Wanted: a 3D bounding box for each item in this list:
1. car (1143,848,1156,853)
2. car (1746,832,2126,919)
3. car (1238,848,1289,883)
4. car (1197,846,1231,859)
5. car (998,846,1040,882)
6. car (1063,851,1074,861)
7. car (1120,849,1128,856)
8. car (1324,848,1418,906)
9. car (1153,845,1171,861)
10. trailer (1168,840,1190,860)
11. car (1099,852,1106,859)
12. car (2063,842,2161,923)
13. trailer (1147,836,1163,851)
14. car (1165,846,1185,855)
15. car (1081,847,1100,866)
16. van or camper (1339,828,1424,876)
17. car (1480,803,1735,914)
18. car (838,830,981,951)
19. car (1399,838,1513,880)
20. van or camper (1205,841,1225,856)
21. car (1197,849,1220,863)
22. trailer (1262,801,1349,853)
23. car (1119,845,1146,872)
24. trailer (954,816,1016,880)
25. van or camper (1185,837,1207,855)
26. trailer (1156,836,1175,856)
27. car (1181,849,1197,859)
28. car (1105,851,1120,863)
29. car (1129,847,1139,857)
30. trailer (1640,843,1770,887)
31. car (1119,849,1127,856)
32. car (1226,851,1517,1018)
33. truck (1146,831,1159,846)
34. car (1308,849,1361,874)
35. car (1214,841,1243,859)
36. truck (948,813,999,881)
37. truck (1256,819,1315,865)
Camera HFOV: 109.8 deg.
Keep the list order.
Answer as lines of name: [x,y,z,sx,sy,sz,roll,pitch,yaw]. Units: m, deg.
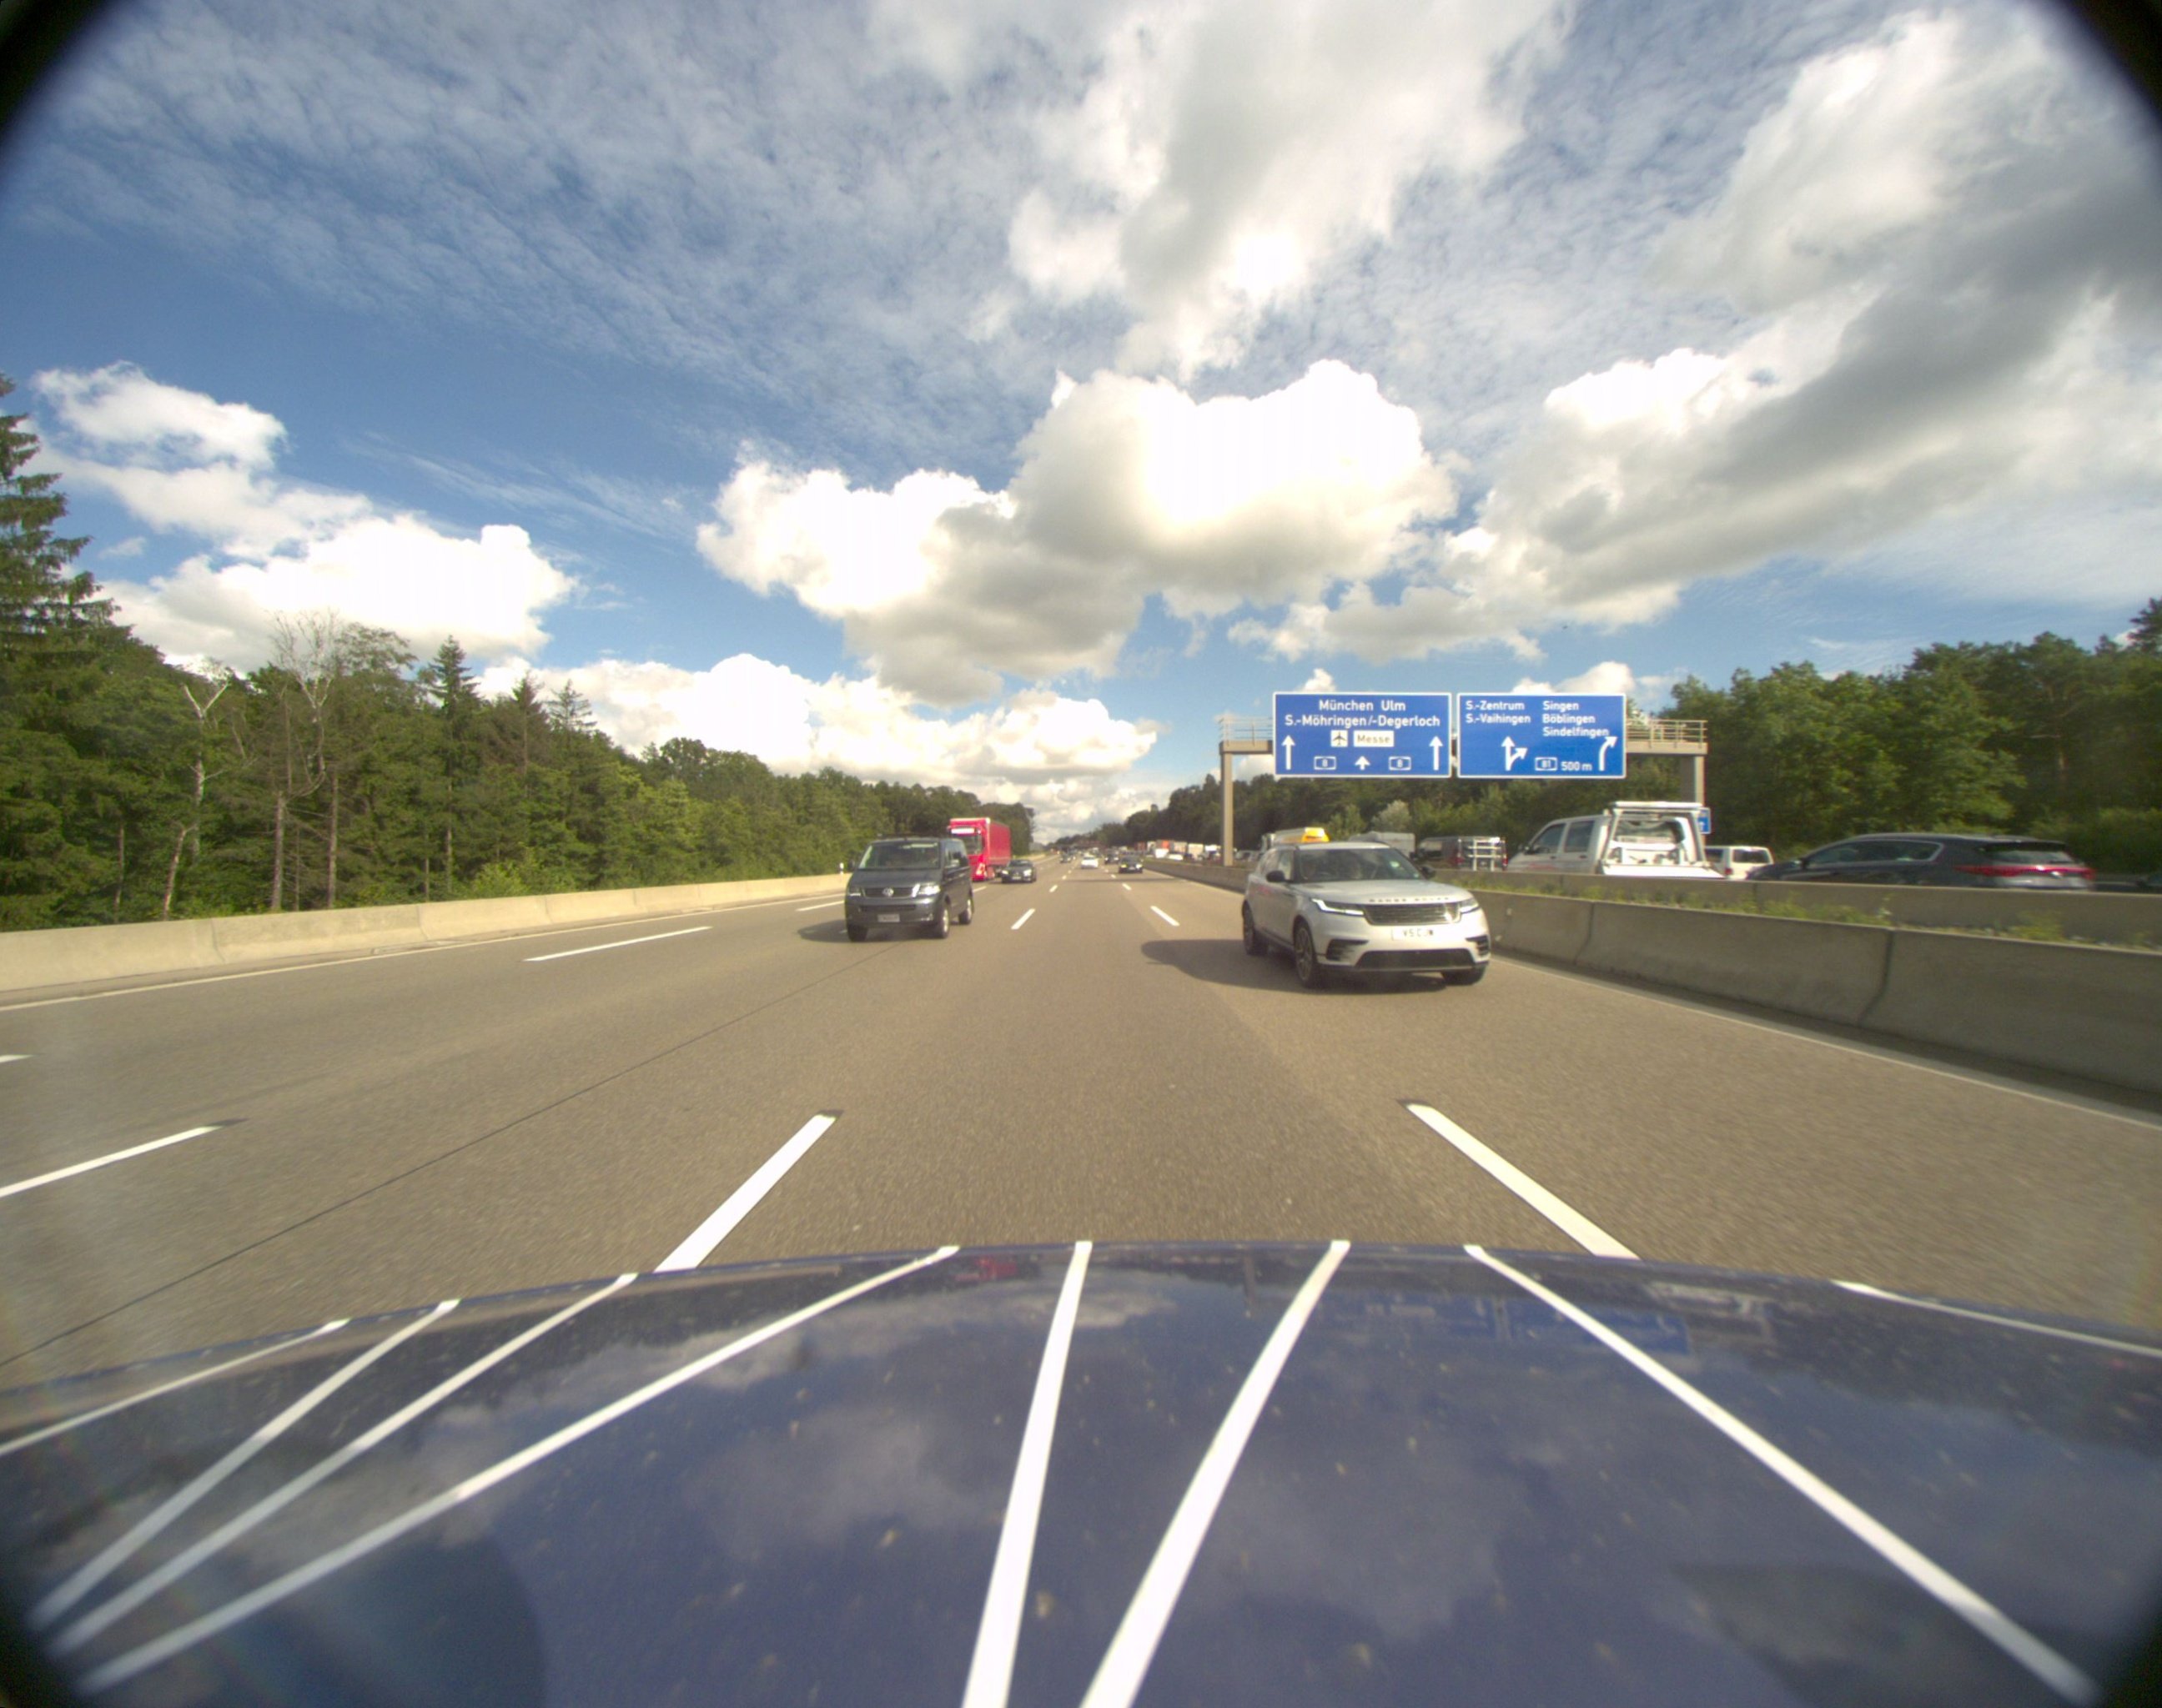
car: [10.572,-0.487,117.283,1.651,0.720,4.447,-2,1,0]
car: [13.507,0.281,12.470,1.568,1.133,4.163,-2,0,1]
car: [10.384,0.609,43.594,1.771,1.788,4.938,-2,0,1]
car: [10.326,-0.107,59.278,1.671,0.922,5.463,-2,0,1]
car: [-3.620,0.574,45.212,1.998,2.002,4.000,-2,0,2]
car: [-2.225,0.331,132.780,1.911,1.582,4.286,-2,1,-2]
car: [11.423,-0.407,203.714,1.821,1.871,4.902,-1,1,0]
car: [10.152,0.740,26.926,1.804,1.865,3.950,-1,1,1]
car: [10.861,-0.140,101.936,1.837,2.050,5.500,0,1,0]
trailer: [18.925,-0.823,147.573,2.895,3.637,10.218,-1,1,0]
car: [5.564,0.279,195.973,1.804,1.783,3.758,-1,0,1]
car: [21.281,0.565,13.524,1.895,1.490,4.409,-1,1,1]
trailer: [19.066,-2.790,195.927,2.957,3.478,12.229,-2,1,0]
car: [10.640,-0.375,86.430,1.647,0.934,4.488,-2,1,0]
car: [1.116,0.274,84.584,1.998,2.002,4.000,-2,0,2]
van or camper: [18.159,-0.202,46.382,2.330,2.628,7.395,-2,1,1]
car: [9.953,0.073,14.870,2.092,1.791,4.179,-2,0,1]
car: [-3.435,0.663,16.257,1.927,2.153,4.960,-1,0,-1]
car: [14.480,0.167,29.741,1.792,1.441,5.375,-2,0,1]
van or camper: [19.036,-0.774,108.095,2.288,2.000,4.689,-2,1,4]
car: [14.699,0.198,87.926,1.837,1.528,4.242,-2,1,0]
trailer: [18.525,-2.097,64.006,3.420,3.806,13.259,-2,0,0]
car: [4.119,0.321,61.460,1.919,2.002,4.000,-3,0,2]
trailer: [-6.832,-0.469,56.269,2.531,4.096,14.375,-1,1,0]
van or camper: [19.226,-1.363,127.455,2.476,2.873,7.479,-2,2,1]
trailer: [18.976,-1.908,170.817,2.646,4.295,13.174,-4,1,0]
car: [14.983,-0.035,105.256,1.667,1.249,3.590,-2,0,0]
car: [4.512,0.447,108.383,1.911,1.582,4.287,-2,1,0]
car: [10.995,-0.508,158.929,1.747,2.002,4.682,-2,1,1]
trailer: [25.610,0.395,31.419,1.830,1.570,4.348,-2,1,0]
car: [11.350,-0.404,203.675,1.821,1.735,4.902,-1,1,0]
car: [3.345,0.779,10.028,1.904,1.597,5.105,-2,0,1]
truck: [19.058,-4.161,202.411,2.964,3.725,5.108,-1,1,0]
car: [14.411,0.399,43.424,1.567,1.316,4.536,-2,0,1]
car: [14.880,-0.391,76.820,2.013,1.646,4.782,-2,1,0]
truck: [-6.877,-0.456,49.161,2.532,4.178,4.652,-1,1,0]
truck: [18.603,-1.023,69.596,3.425,3.877,6.801,-2,0,0]
